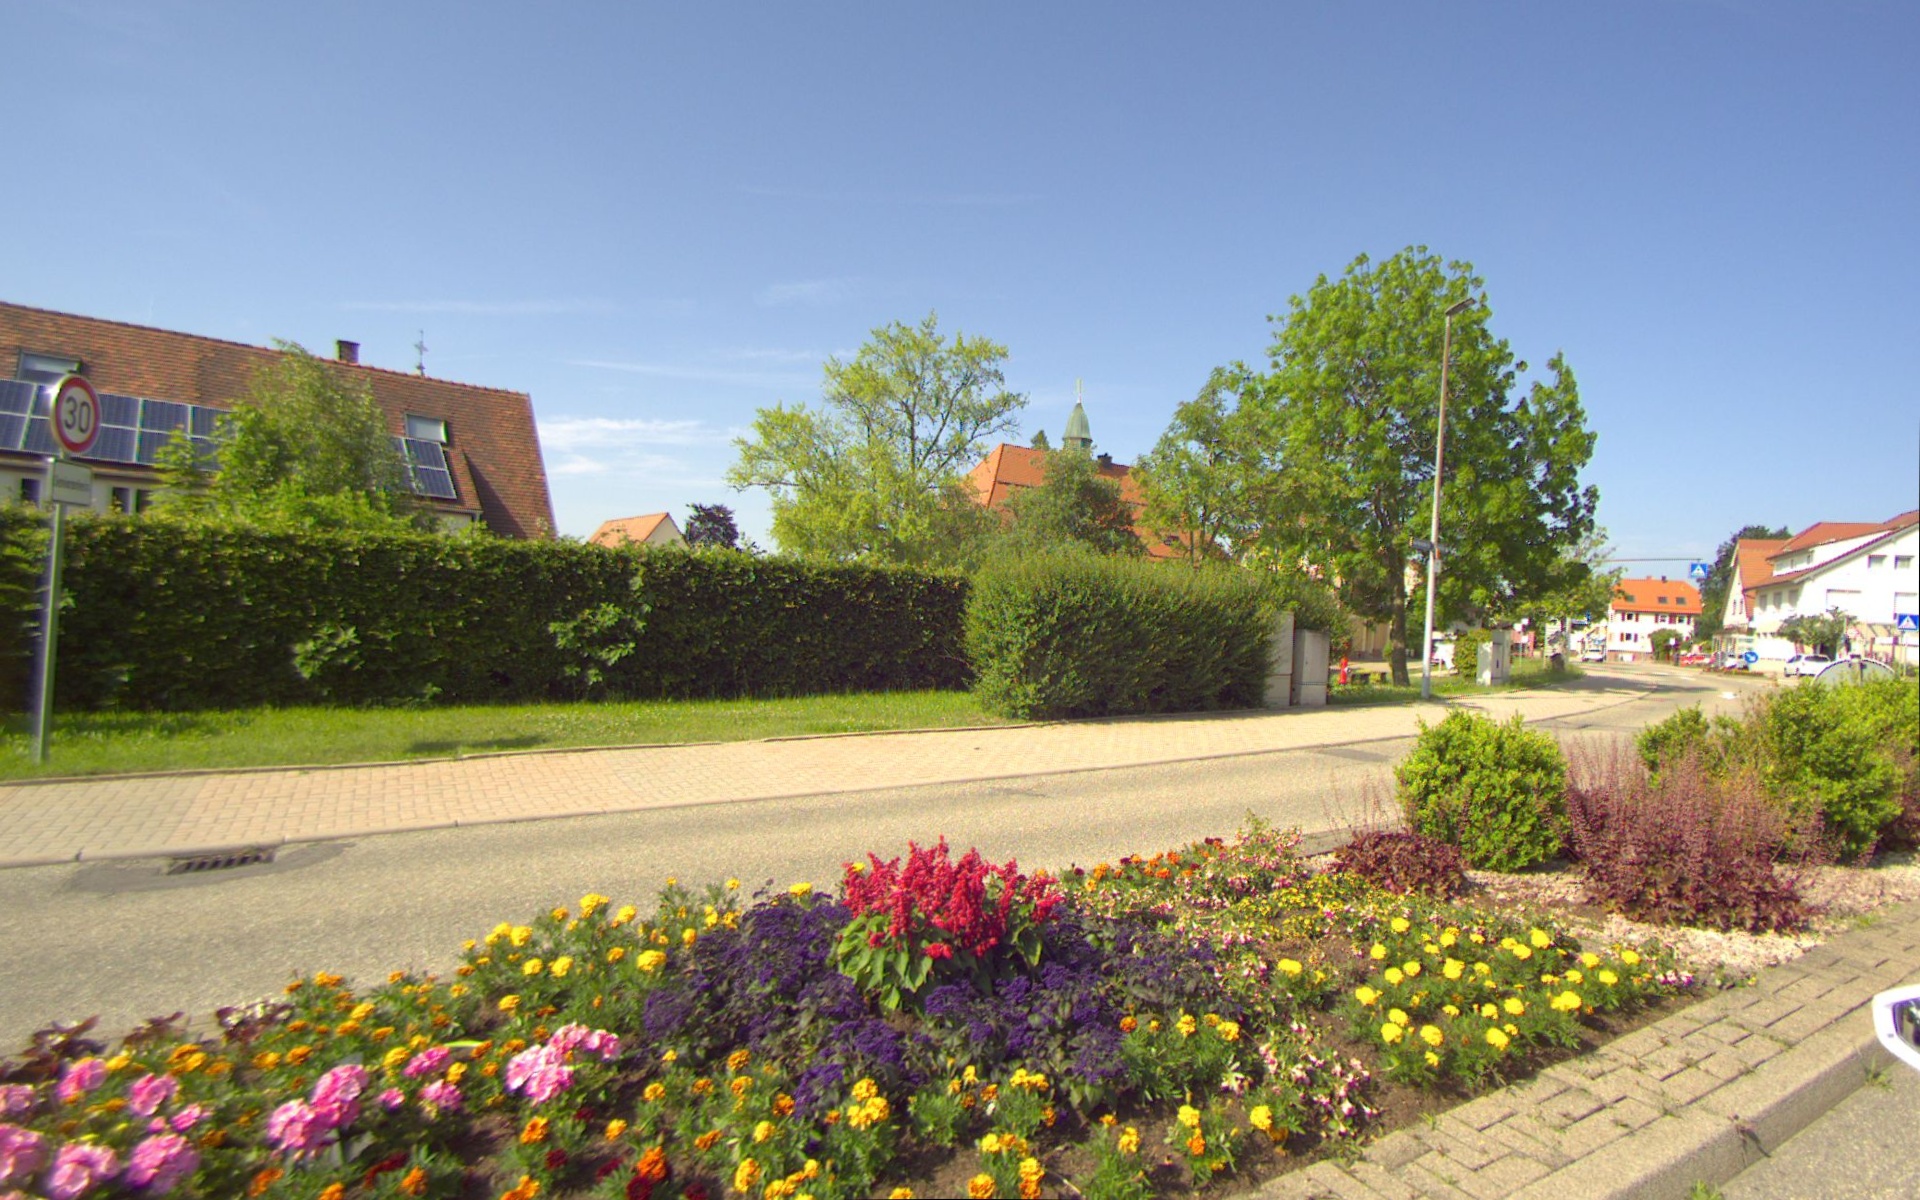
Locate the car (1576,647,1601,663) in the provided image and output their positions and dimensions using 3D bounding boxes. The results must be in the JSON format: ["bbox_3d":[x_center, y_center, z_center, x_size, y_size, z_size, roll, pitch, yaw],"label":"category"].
[{"bbox_3d":[82.795,7.265,132.425,2.458,2.040,4.299,0,-3,28],"label":"car"}]

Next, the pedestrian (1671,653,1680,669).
[{"bbox_3d":[82.131,6.994,115.271,0.788,1.808,0.977,1,-2,32],"label":"pedestrian"}]

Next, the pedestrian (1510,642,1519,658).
[{"bbox_3d":[44.145,3.995,79.930,0.619,1.269,0.423,0,-2,24],"label":"pedestrian"}]

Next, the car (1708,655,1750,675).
[{"bbox_3d":[59.218,4.973,77.379,1.609,1.438,3.934,1,-2,23],"label":"car"}]

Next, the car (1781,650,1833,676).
[{"bbox_3d":[51.188,3.797,60.786,1.734,1.442,3.628,0,-2,29],"label":"car"}]

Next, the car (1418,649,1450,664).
[{"bbox_3d":[43.586,5.166,92.338,1.701,1.314,3.980,0,-3,41],"label":"car"}]
